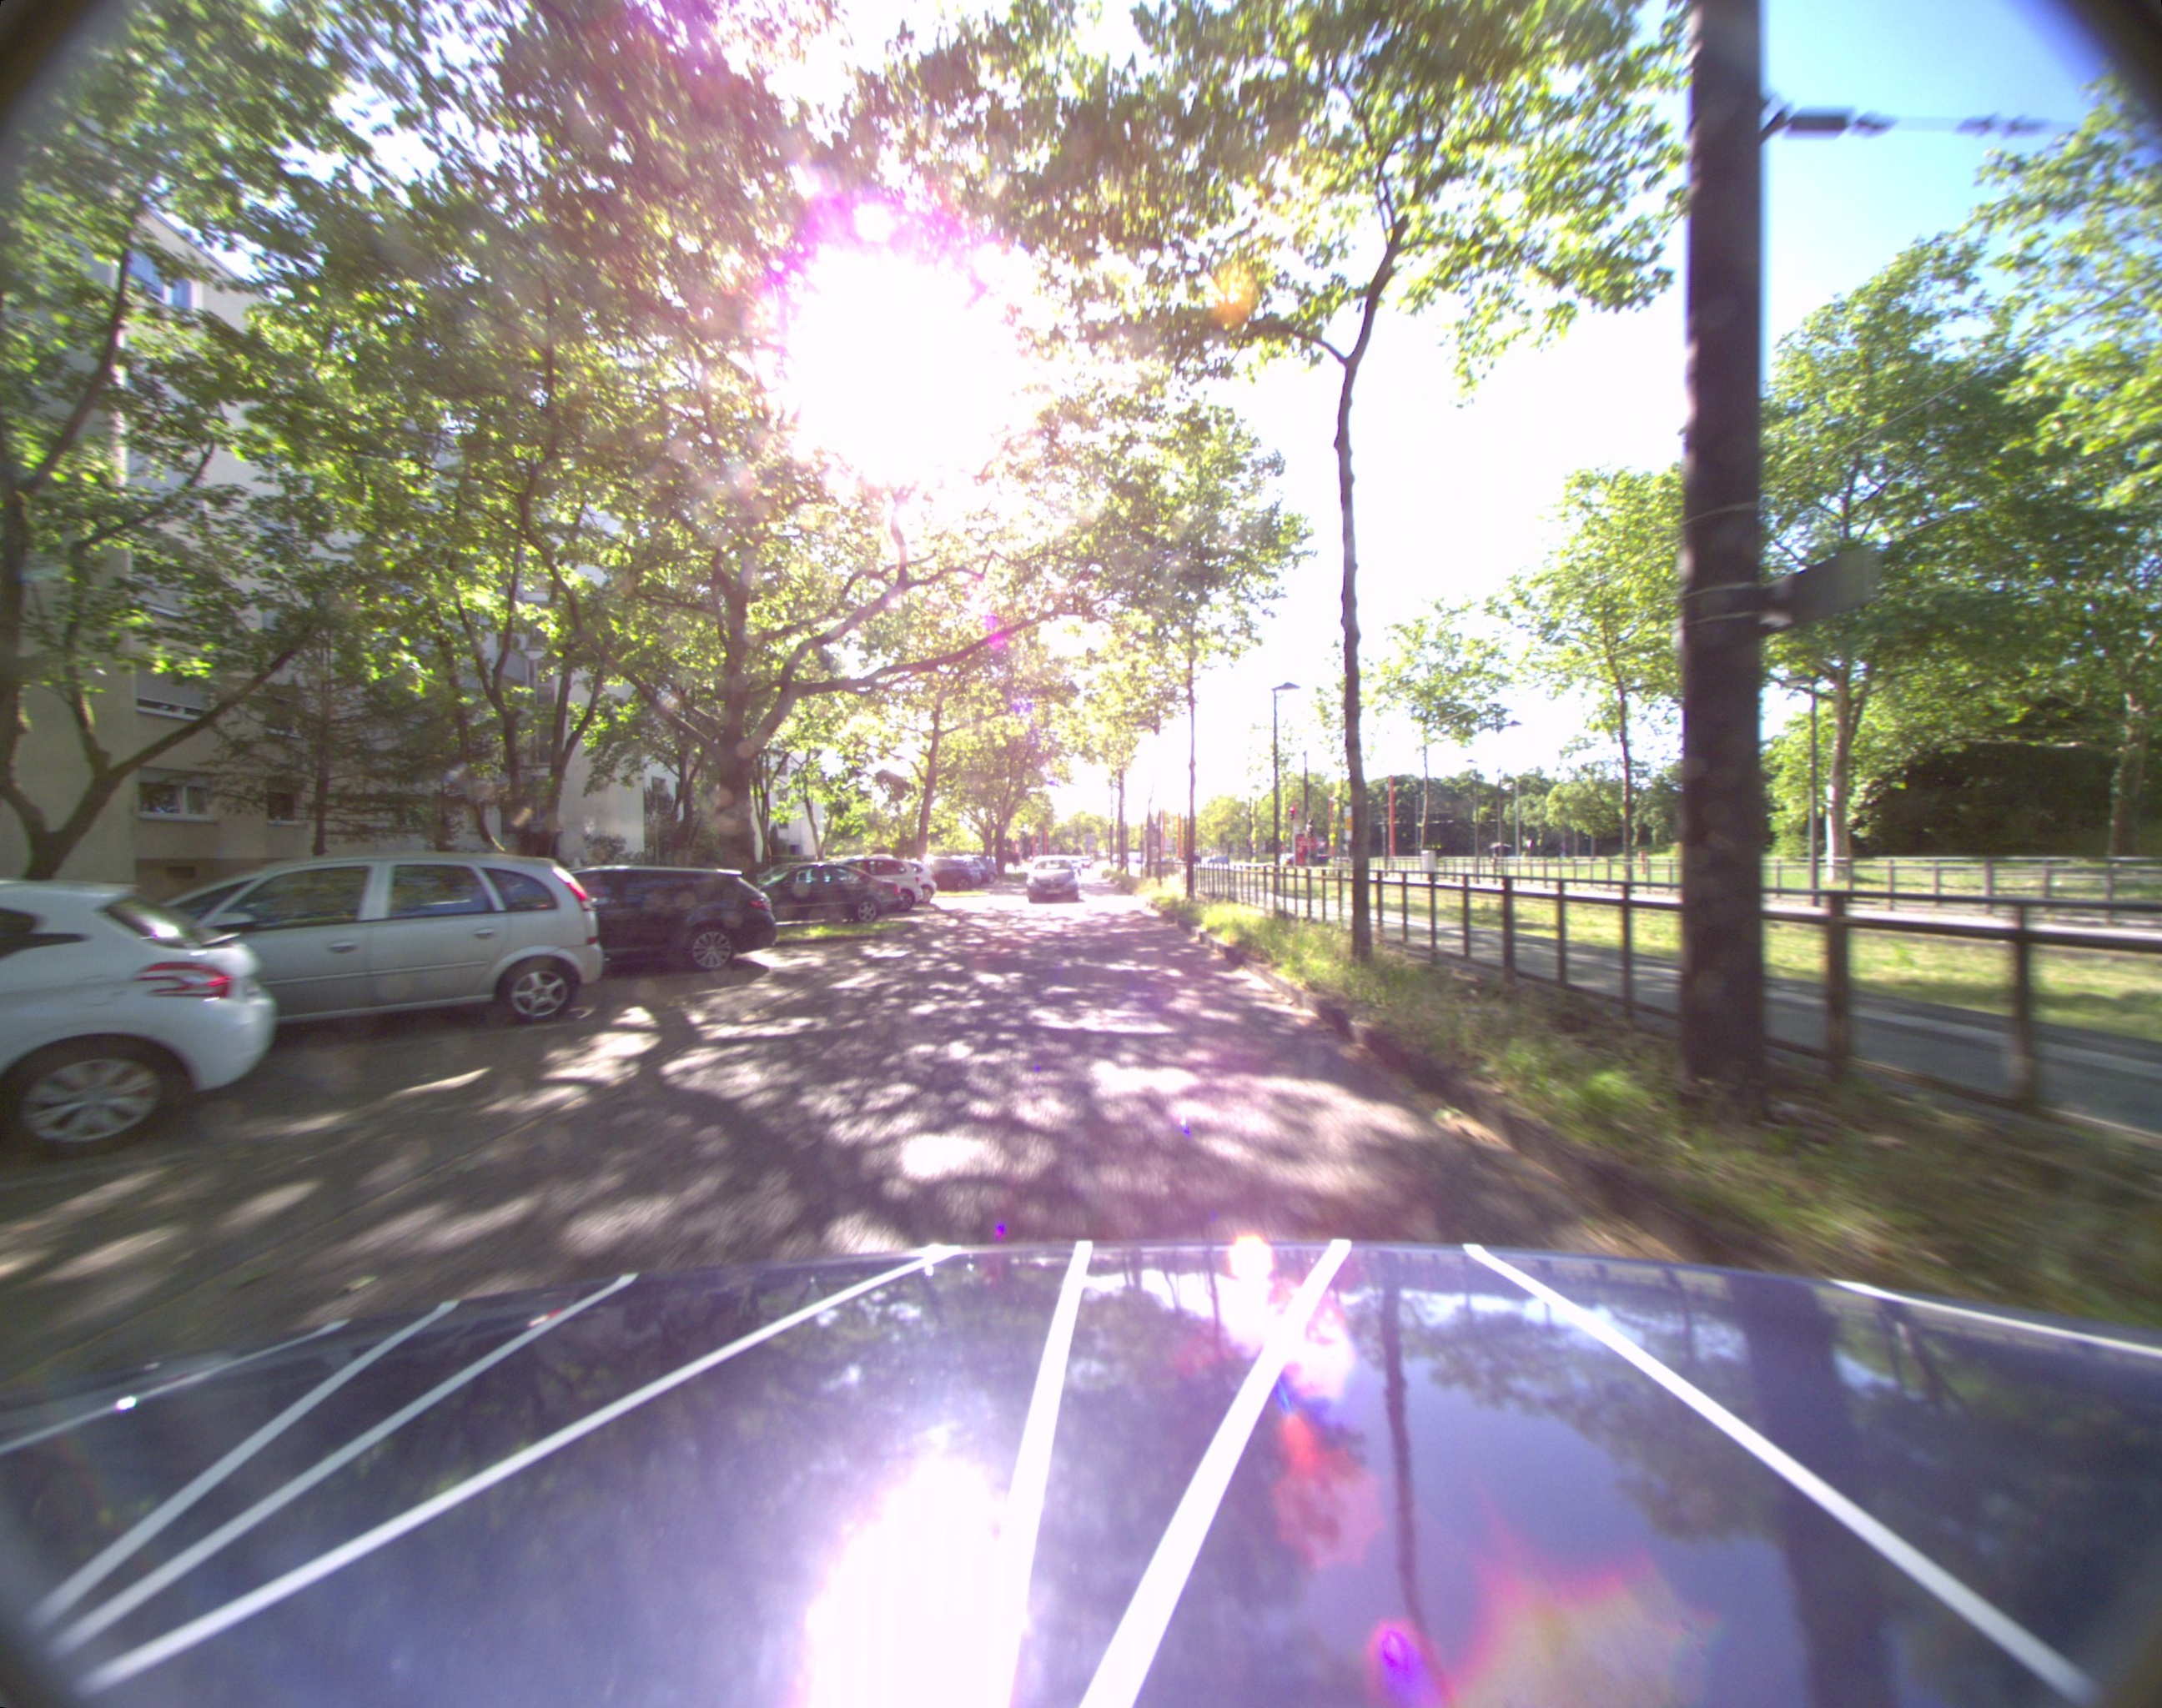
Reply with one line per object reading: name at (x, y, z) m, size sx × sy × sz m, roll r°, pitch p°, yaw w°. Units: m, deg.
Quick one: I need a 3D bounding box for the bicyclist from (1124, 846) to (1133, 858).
bicyclist at (5.862, -0.213, 93.663) m, size 0.955 × 1.469 × 0.704 m, roll -1°, pitch 1°, yaw 23°

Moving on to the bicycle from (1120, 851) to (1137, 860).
bicycle at (5.866, 0.217, 93.676) m, size 1.896 × 1.101 × 0.704 m, roll -1°, pitch 1°, yaw 23°

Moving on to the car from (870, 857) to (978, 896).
car at (-6.513, 0.878, 31.876) m, size 1.795 × 1.501 × 4.186 m, roll 1°, pitch 0°, yaw 43°

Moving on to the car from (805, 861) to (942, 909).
car at (-6.852, 0.966, 25.269) m, size 4.008 × 1.436 × 1.795 m, roll 0°, pitch 0°, yaw -42°

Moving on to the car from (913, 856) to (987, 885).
car at (-7.163, 0.874, 41.801) m, size 3.591 × 1.483 × 1.795 m, roll 0°, pitch 0°, yaw -42°

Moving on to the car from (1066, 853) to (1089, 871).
car at (-0.301, 0.651, 64.744) m, size 1.799 × 1.530 × 3.999 m, roll 0°, pitch 0°, yaw -2°

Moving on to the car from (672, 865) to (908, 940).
car at (-6.368, 0.978, 17.033) m, size 1.795 × 1.414 × 4.600 m, roll 1°, pitch 0°, yaw 44°

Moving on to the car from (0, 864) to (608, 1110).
car at (-6.677, 0.904, 6.668) m, size 4.009 × 1.580 × 1.794 m, roll 1°, pitch 1°, yaw -43°

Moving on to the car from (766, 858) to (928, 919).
car at (-6.582, 0.901, 21.578) m, size 4.008 × 1.566 × 1.795 m, roll 0°, pitch 0°, yaw -41°

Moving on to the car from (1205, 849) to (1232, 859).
car at (22.266, 0.025, 122.903) m, size 3.990 × 1.501 × 1.803 m, roll 0°, pitch 0°, yaw 26°

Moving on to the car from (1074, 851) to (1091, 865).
car at (0.191, 0.481, 88.112) m, size 1.788 × 1.501 × 4.626 m, roll -2°, pitch 0°, yaw 2°

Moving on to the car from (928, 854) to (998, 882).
car at (-6.959, 0.820, 45.095) m, size 3.734 × 1.583 × 1.795 m, roll 0°, pitch 0°, yaw -41°

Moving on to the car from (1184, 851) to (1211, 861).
car at (18.437, 0.266, 120.282) m, size 3.990 × 1.501 × 1.803 m, roll 0°, pitch 0°, yaw 26°

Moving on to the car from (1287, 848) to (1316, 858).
car at (33.535, -0.120, 115.684) m, size 3.990 × 1.501 × 1.803 m, roll 0°, pitch 0°, yaw 26°

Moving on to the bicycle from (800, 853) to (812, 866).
bicycle at (-23.784, 0.489, 65.702) m, size 0.500 × 1.101 × 1.799 m, roll 4°, pitch 0°, yaw -7°

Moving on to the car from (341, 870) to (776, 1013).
car at (-6.644, 0.956, 10.094) m, size 4.418 × 1.420 × 1.946 m, roll 1°, pitch 1°, yaw -40°

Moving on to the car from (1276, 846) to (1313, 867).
car at (17.540, 0.189, 62.633) m, size 1.799 × 1.607 × 4.233 m, roll -1°, pitch 0°, yaw 0°

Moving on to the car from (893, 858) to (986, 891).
car at (-6.567, 0.919, 35.443) m, size 3.896 × 1.437 × 1.795 m, roll 0°, pitch 0°, yaw -44°

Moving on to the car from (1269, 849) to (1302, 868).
car at (18.207, 0.369, 67.924) m, size 1.799 × 1.607 × 4.233 m, roll -1°, pitch 0°, yaw 0°

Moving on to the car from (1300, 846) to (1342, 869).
car at (17.863, 0.244, 56.798) m, size 1.799 × 1.598 × 4.267 m, roll -1°, pitch 0°, yaw 0°

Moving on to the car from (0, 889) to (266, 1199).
car at (-6.757, 0.958, 3.525) m, size 1.826 × 1.411 × 4.009 m, roll 2°, pitch 1°, yaw 44°

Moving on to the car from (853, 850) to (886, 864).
car at (-34.681, 0.499, 124.656) m, size 5.180 × 2.075 × 2.095 m, roll -1°, pitch 2°, yaw 28°

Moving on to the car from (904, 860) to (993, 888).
car at (-6.739, 0.973, 38.823) m, size 4.155 × 1.310 × 1.795 m, roll 0°, pitch 0°, yaw -41°

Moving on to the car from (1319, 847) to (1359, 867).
car at (20.679, 0.220, 61.025) m, size 1.799 × 1.501 × 4.267 m, roll -1°, pitch 0°, yaw 0°

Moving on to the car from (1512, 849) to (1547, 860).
car at (60.457, 0.047, 102.520) m, size 3.990 × 1.501 × 1.803 m, roll 0°, pitch 0°, yaw 26°

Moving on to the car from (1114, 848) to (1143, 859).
car at (8.063, -0.147, 129.600) m, size 4.545 × 1.825 × 1.803 m, roll 0°, pitch 0°, yaw 26°

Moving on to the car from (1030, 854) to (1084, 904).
car at (-0.821, 0.844, 27.396) m, size 1.799 × 1.580 × 3.762 m, roll -2°, pitch 1°, yaw -1°
